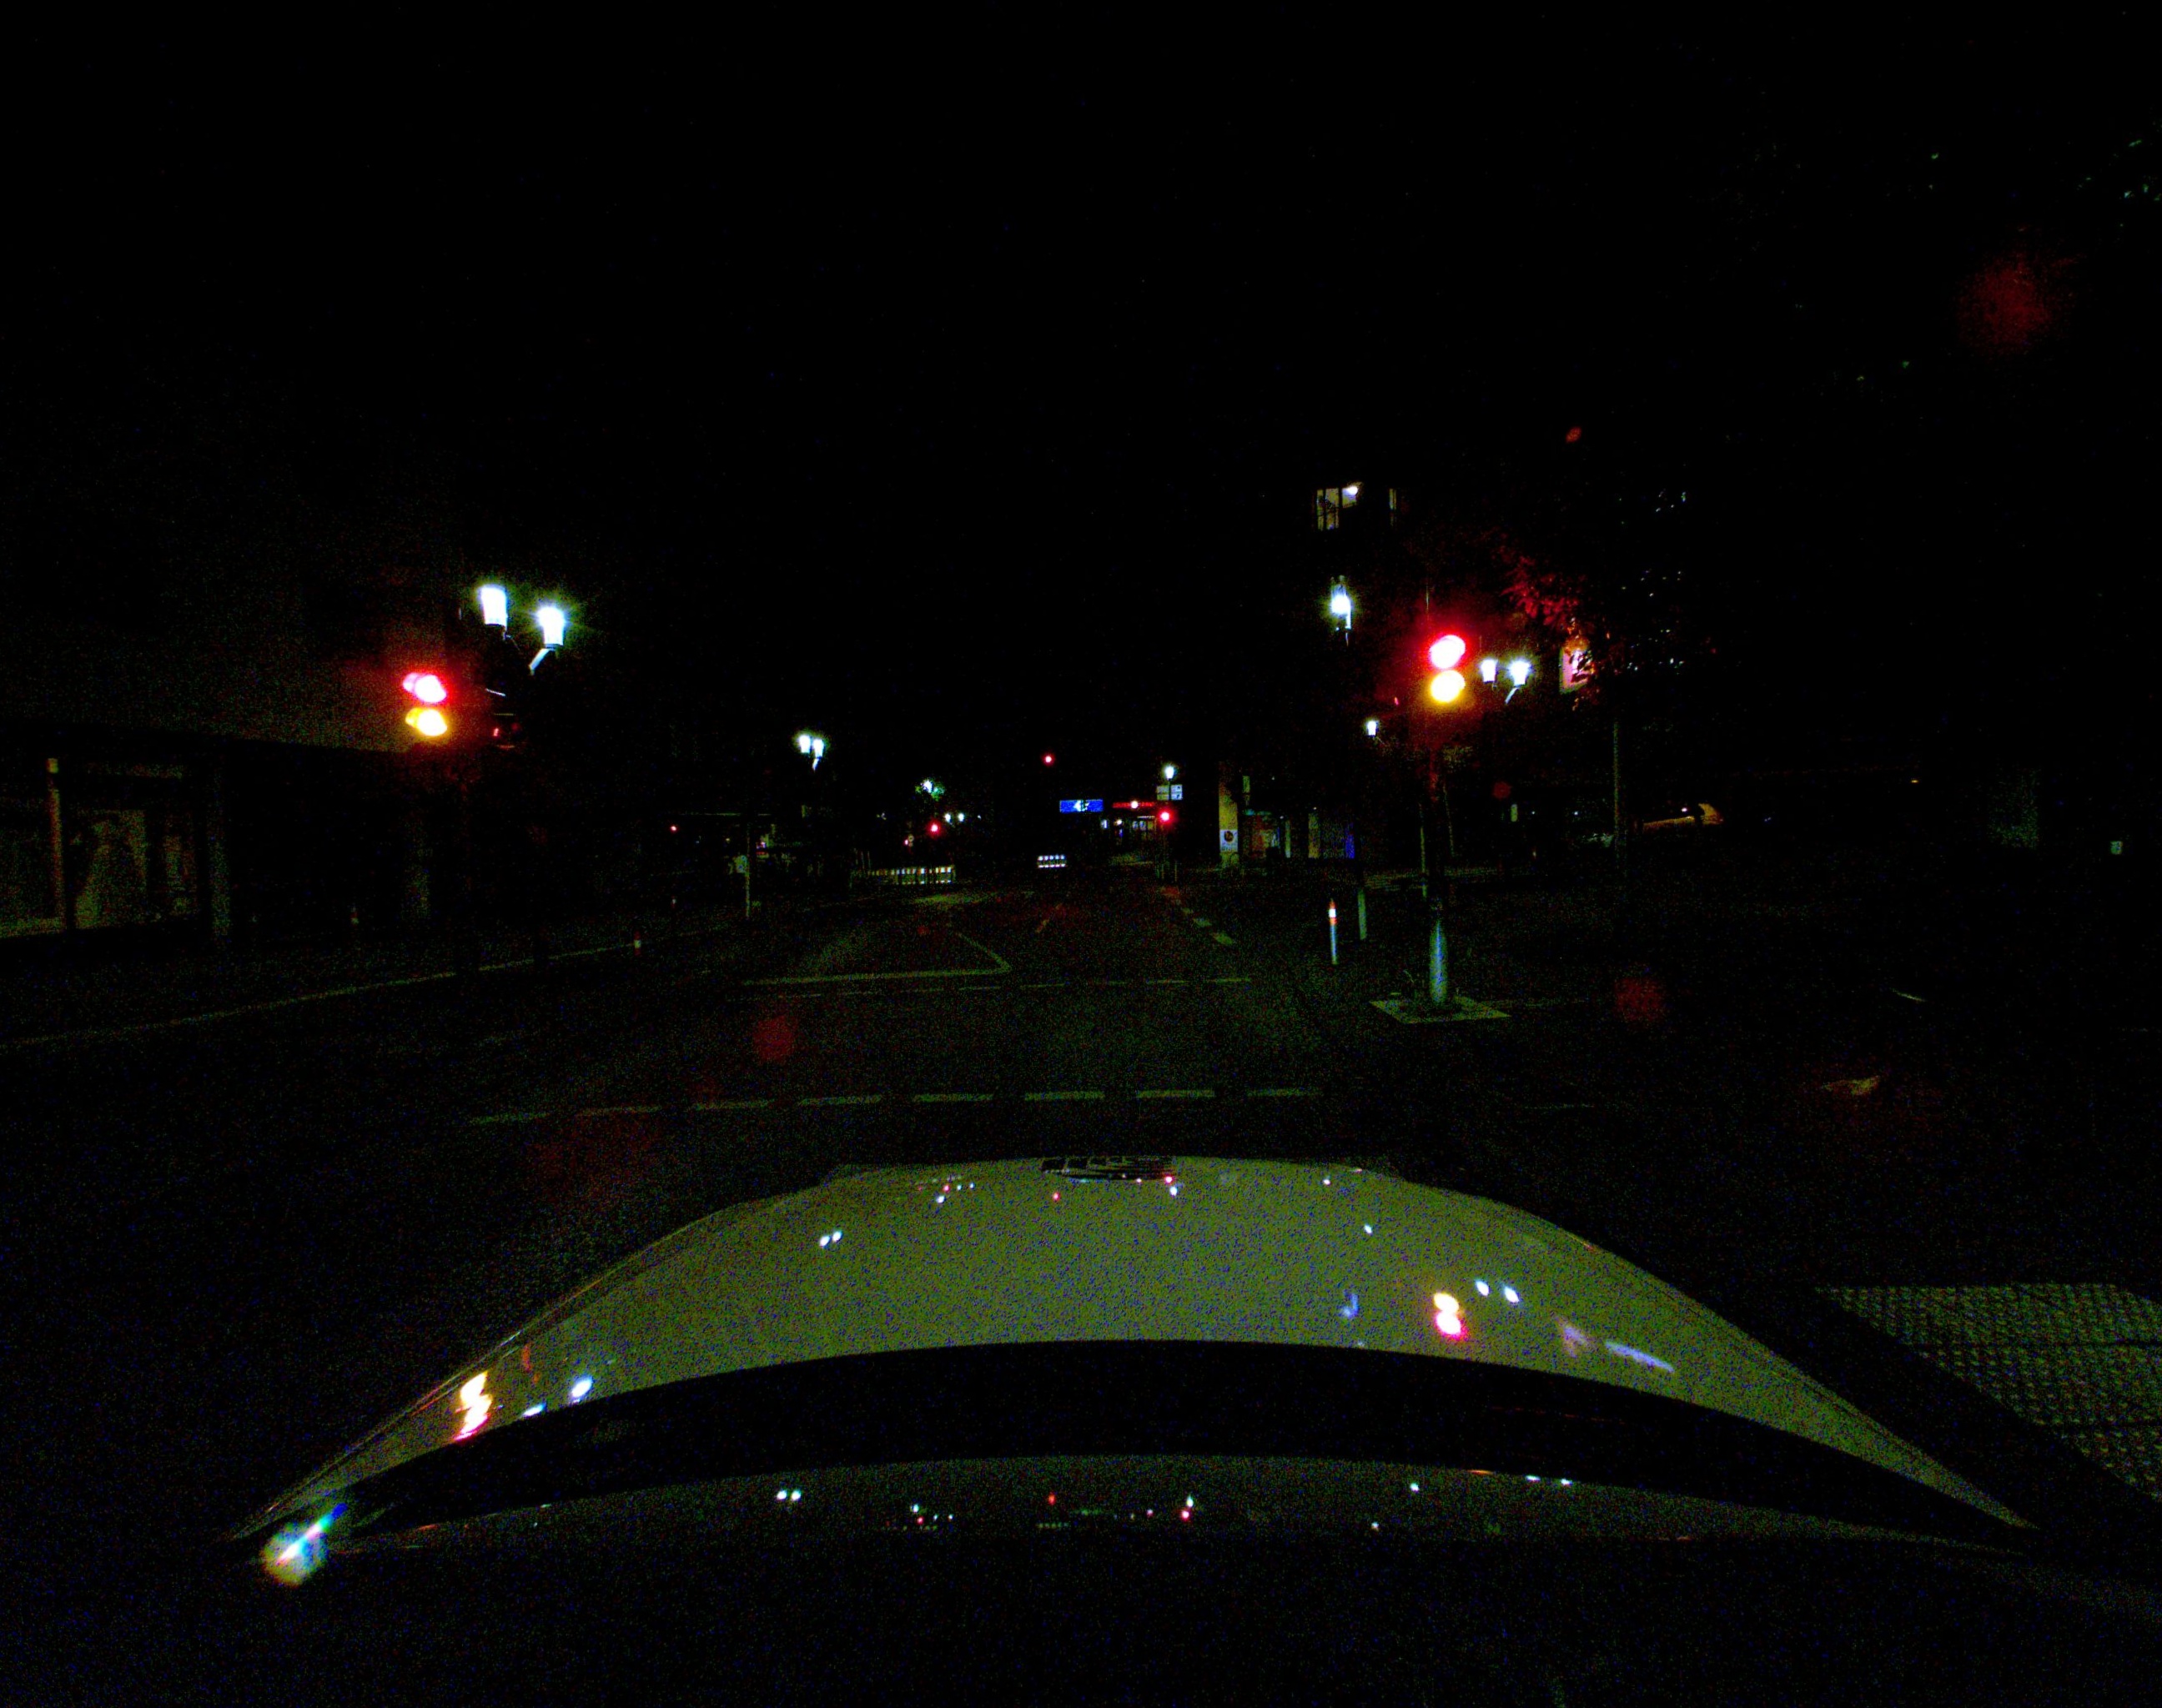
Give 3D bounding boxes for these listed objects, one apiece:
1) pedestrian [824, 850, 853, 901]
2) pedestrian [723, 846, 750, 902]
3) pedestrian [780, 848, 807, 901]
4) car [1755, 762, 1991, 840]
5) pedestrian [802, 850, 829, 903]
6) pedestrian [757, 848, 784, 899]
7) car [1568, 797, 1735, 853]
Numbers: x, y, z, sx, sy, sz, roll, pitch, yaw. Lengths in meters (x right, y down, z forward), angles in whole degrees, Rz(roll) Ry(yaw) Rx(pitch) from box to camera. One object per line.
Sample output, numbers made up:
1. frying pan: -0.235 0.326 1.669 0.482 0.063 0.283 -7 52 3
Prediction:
1. pedestrian: -8.563 0.764 28.808 0.711 1.795 0.739 -1 -2 13
2. pedestrian: -11.292 0.654 26.717 0.716 1.795 0.567 0 -2 -10
3. pedestrian: -9.877 0.697 27.987 0.712 1.795 0.571 -1 -2 8
4. car: 23.401 -1.489 24.411 4.783 1.910 2.172 -2 -2 37
5. pedestrian: -9.098 0.780 27.903 0.712 1.795 0.571 -1 -2 8
6. pedestrian: -11.137 0.692 29.223 0.712 1.795 0.571 -1 -2 8
7. car: 18.521 -0.937 26.596 4.019 1.452 1.830 -4 0 8
